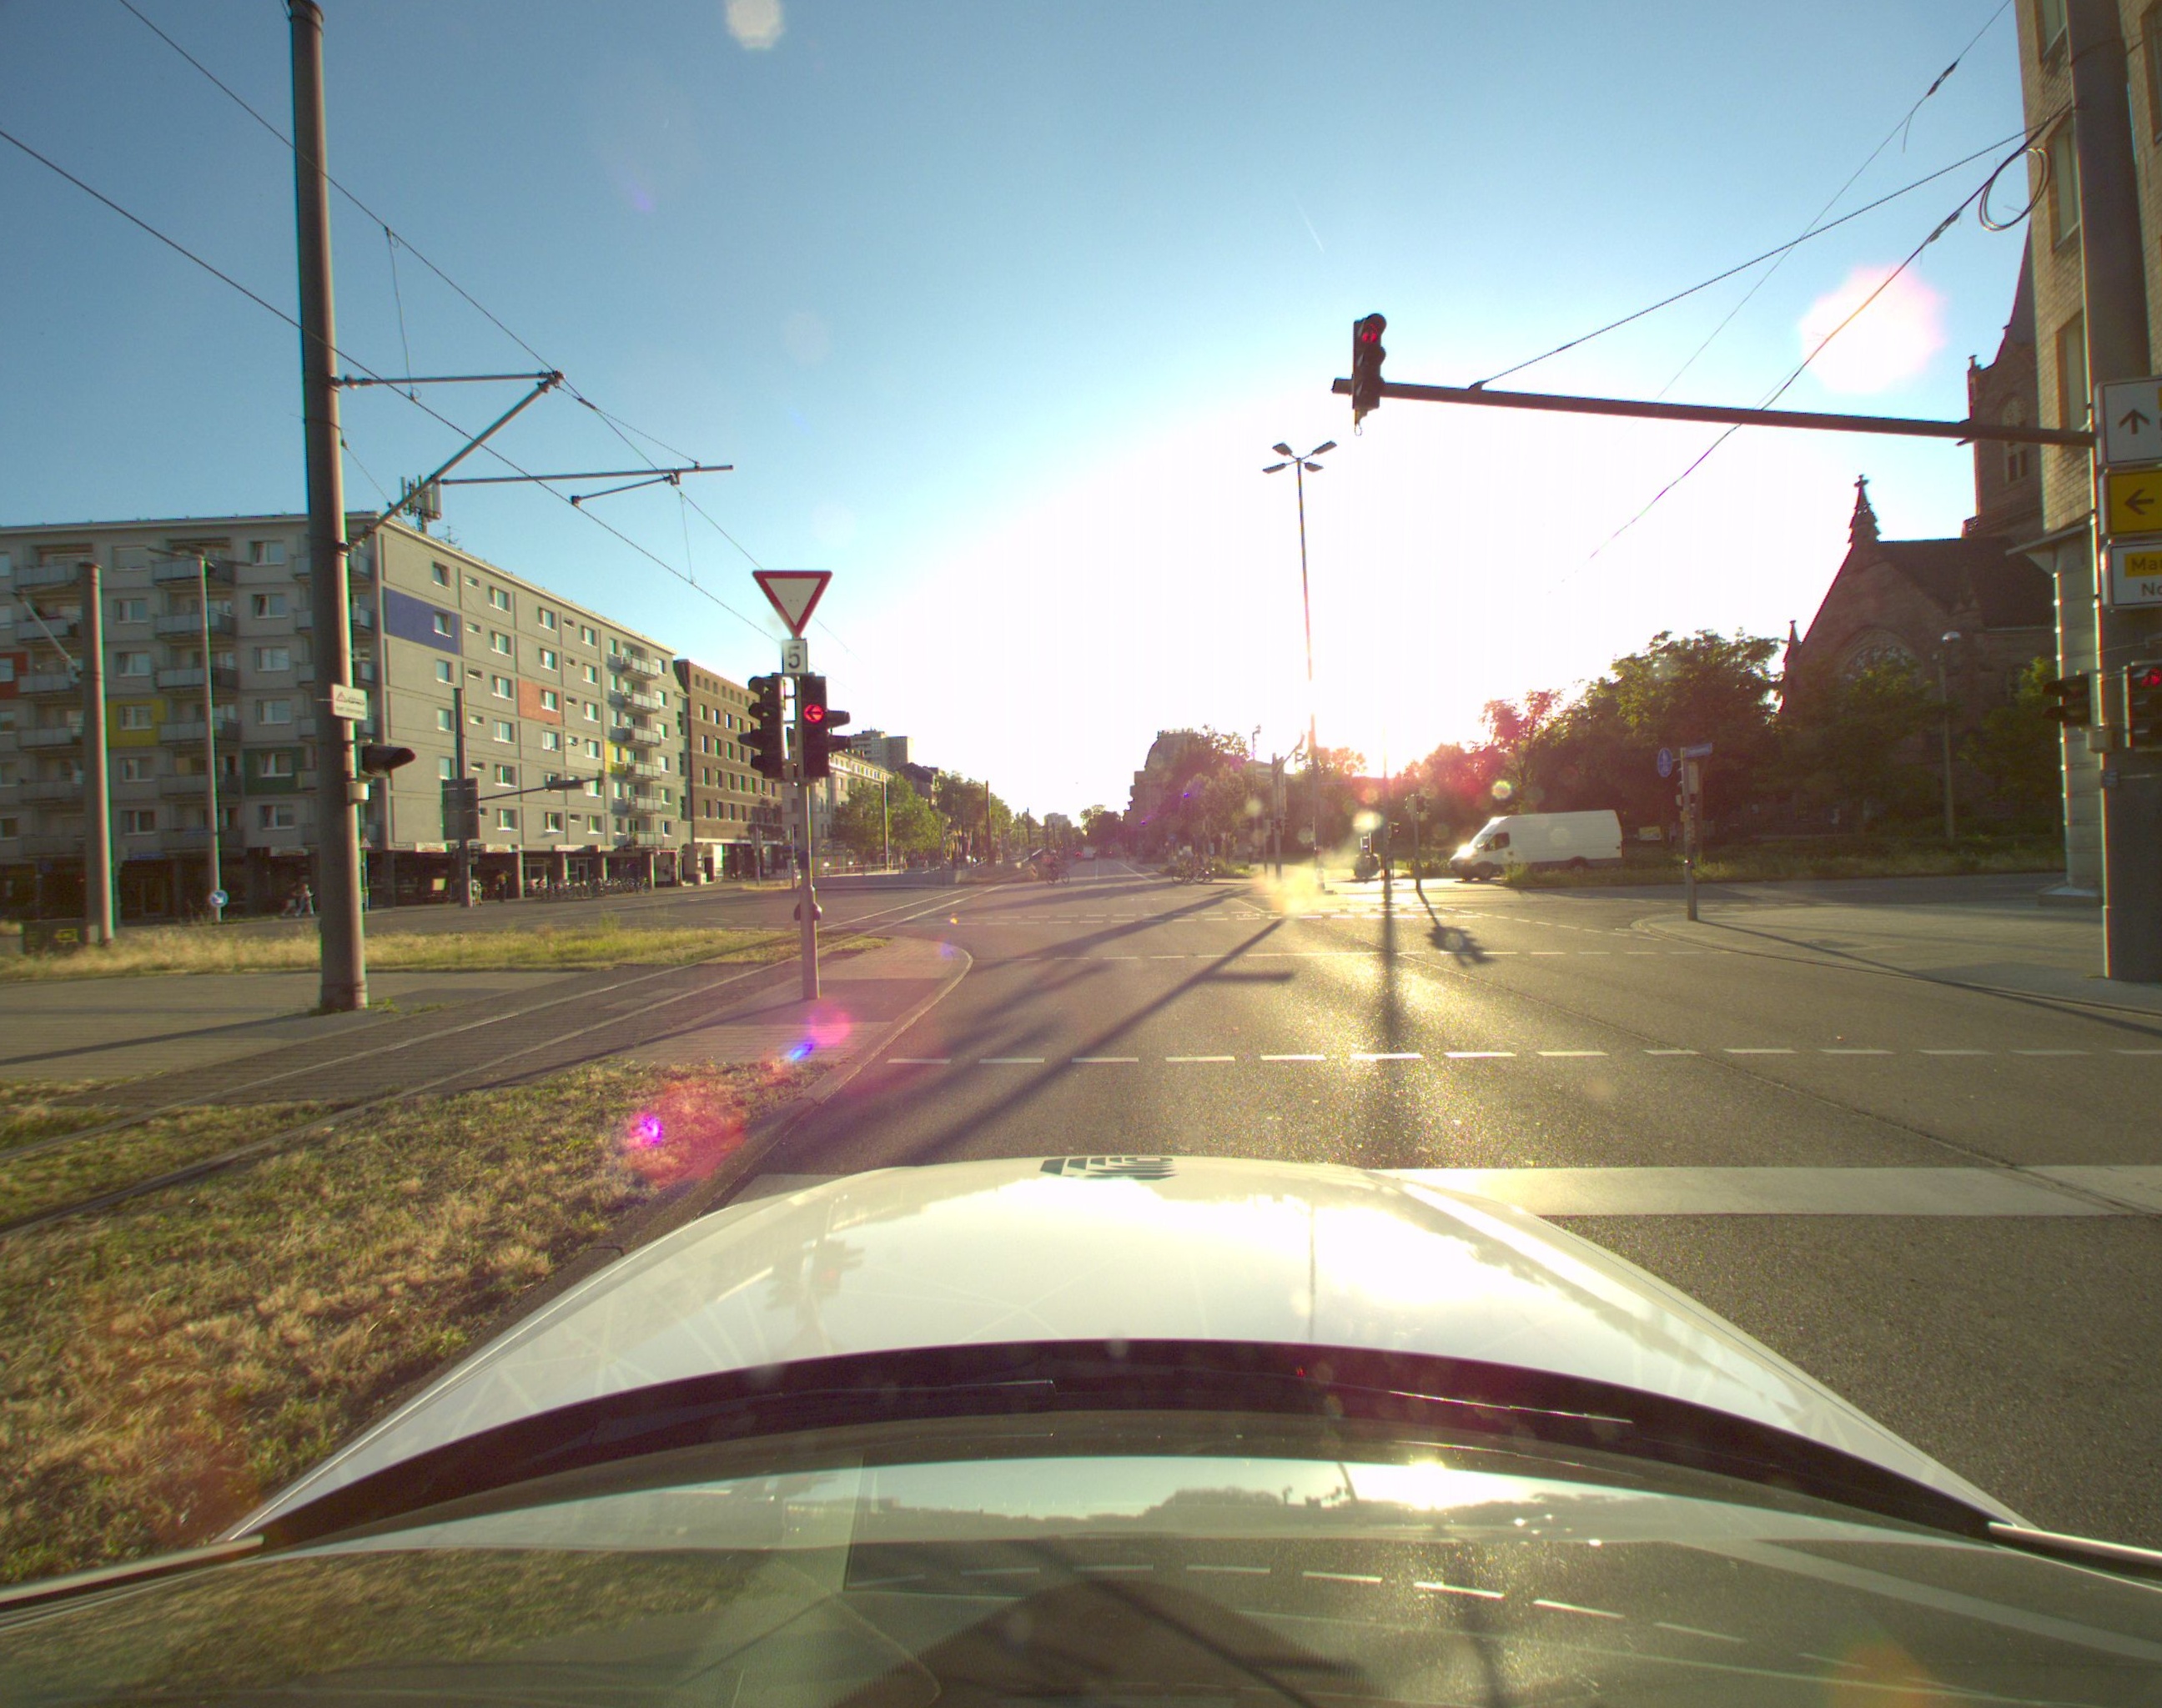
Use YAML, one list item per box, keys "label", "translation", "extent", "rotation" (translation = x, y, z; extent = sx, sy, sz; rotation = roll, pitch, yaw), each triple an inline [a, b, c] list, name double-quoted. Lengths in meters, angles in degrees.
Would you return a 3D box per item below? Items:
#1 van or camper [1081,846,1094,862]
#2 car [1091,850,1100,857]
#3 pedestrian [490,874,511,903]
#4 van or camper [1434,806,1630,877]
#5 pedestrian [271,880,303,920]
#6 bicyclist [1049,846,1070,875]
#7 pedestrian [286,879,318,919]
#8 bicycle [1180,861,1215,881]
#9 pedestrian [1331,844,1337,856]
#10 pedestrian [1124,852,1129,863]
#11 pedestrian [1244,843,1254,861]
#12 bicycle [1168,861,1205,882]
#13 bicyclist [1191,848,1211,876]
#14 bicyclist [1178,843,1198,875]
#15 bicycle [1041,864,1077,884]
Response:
- label: "van or camper"
  translation: [1.185, -0.034, 150.058]
  extent: [2.254, 2.624, 4.505]
  rotation: [-2, 1, 2]
- label: "car"
  translation: [3.126, -0.082, 177.060]
  extent: [1.731, 1.385, 4.002]
  rotation: [-2, 1, 2]
- label: "pedestrian"
  translation: [-34.321, 2.038, 48.151]
  extent: [0.732, 1.669, 0.788]
  rotation: [-1, 2, 43]
- label: "van or camper"
  translation: [19.453, -0.544, 35.432]
  extent: [7.013, 2.674, 2.601]
  rotation: [-2, 1, 3]
- label: "pedestrian"
  translation: [-38.528, 2.206, 39.504]
  extent: [0.702, 1.851, 0.737]
  rotation: [-2, 1, 1]
- label: "bicyclist"
  translation: [-1.116, 0.312, 41.843]
  extent: [0.859, 1.442, 0.657]
  rotation: [-1, 1, -30]
- label: "pedestrian"
  translation: [-37.715, 2.169, 39.430]
  extent: [0.600, 1.847, 0.822]
  rotation: [-2, 1, 1]
- label: "bicycle"
  translation: [6.166, 0.912, 43.129]
  extent: [1.715, 0.970, 0.609]
  rotation: [-2, 1, -4]
- label: "pedestrian"
  translation: [36.666, -0.608, 118.021]
  extent: [0.791, 1.701, 0.803]
  rotation: [-2, 0, 16]
- label: "pedestrian"
  translation: [6.249, 0.492, 111.399]
  extent: [0.613, 1.475, 0.801]
  rotation: [-2, 1, 5]
- label: "pedestrian"
  translation: [14.901, -0.167, 72.355]
  extent: [0.679, 1.611, 0.613]
  rotation: [-2, 1, 1]
- label: "bicycle"
  translation: [5.308, 0.893, 40.996]
  extent: [1.727, 0.970, 0.608]
  rotation: [-2, 1, -7]
- label: "bicyclist"
  translation: [6.343, 0.410, 43.141]
  extent: [0.851, 1.442, 0.662]
  rotation: [-3, 1, -4]
- label: "bicyclist"
  translation: [5.373, 0.227, 41.003]
  extent: [0.797, 1.571, 0.662]
  rotation: [-3, 1, -7]
- label: "bicycle"
  translation: [-1.126, 1.005, 41.854]
  extent: [1.739, 0.970, 0.697]
  rotation: [0, 2, -31]
